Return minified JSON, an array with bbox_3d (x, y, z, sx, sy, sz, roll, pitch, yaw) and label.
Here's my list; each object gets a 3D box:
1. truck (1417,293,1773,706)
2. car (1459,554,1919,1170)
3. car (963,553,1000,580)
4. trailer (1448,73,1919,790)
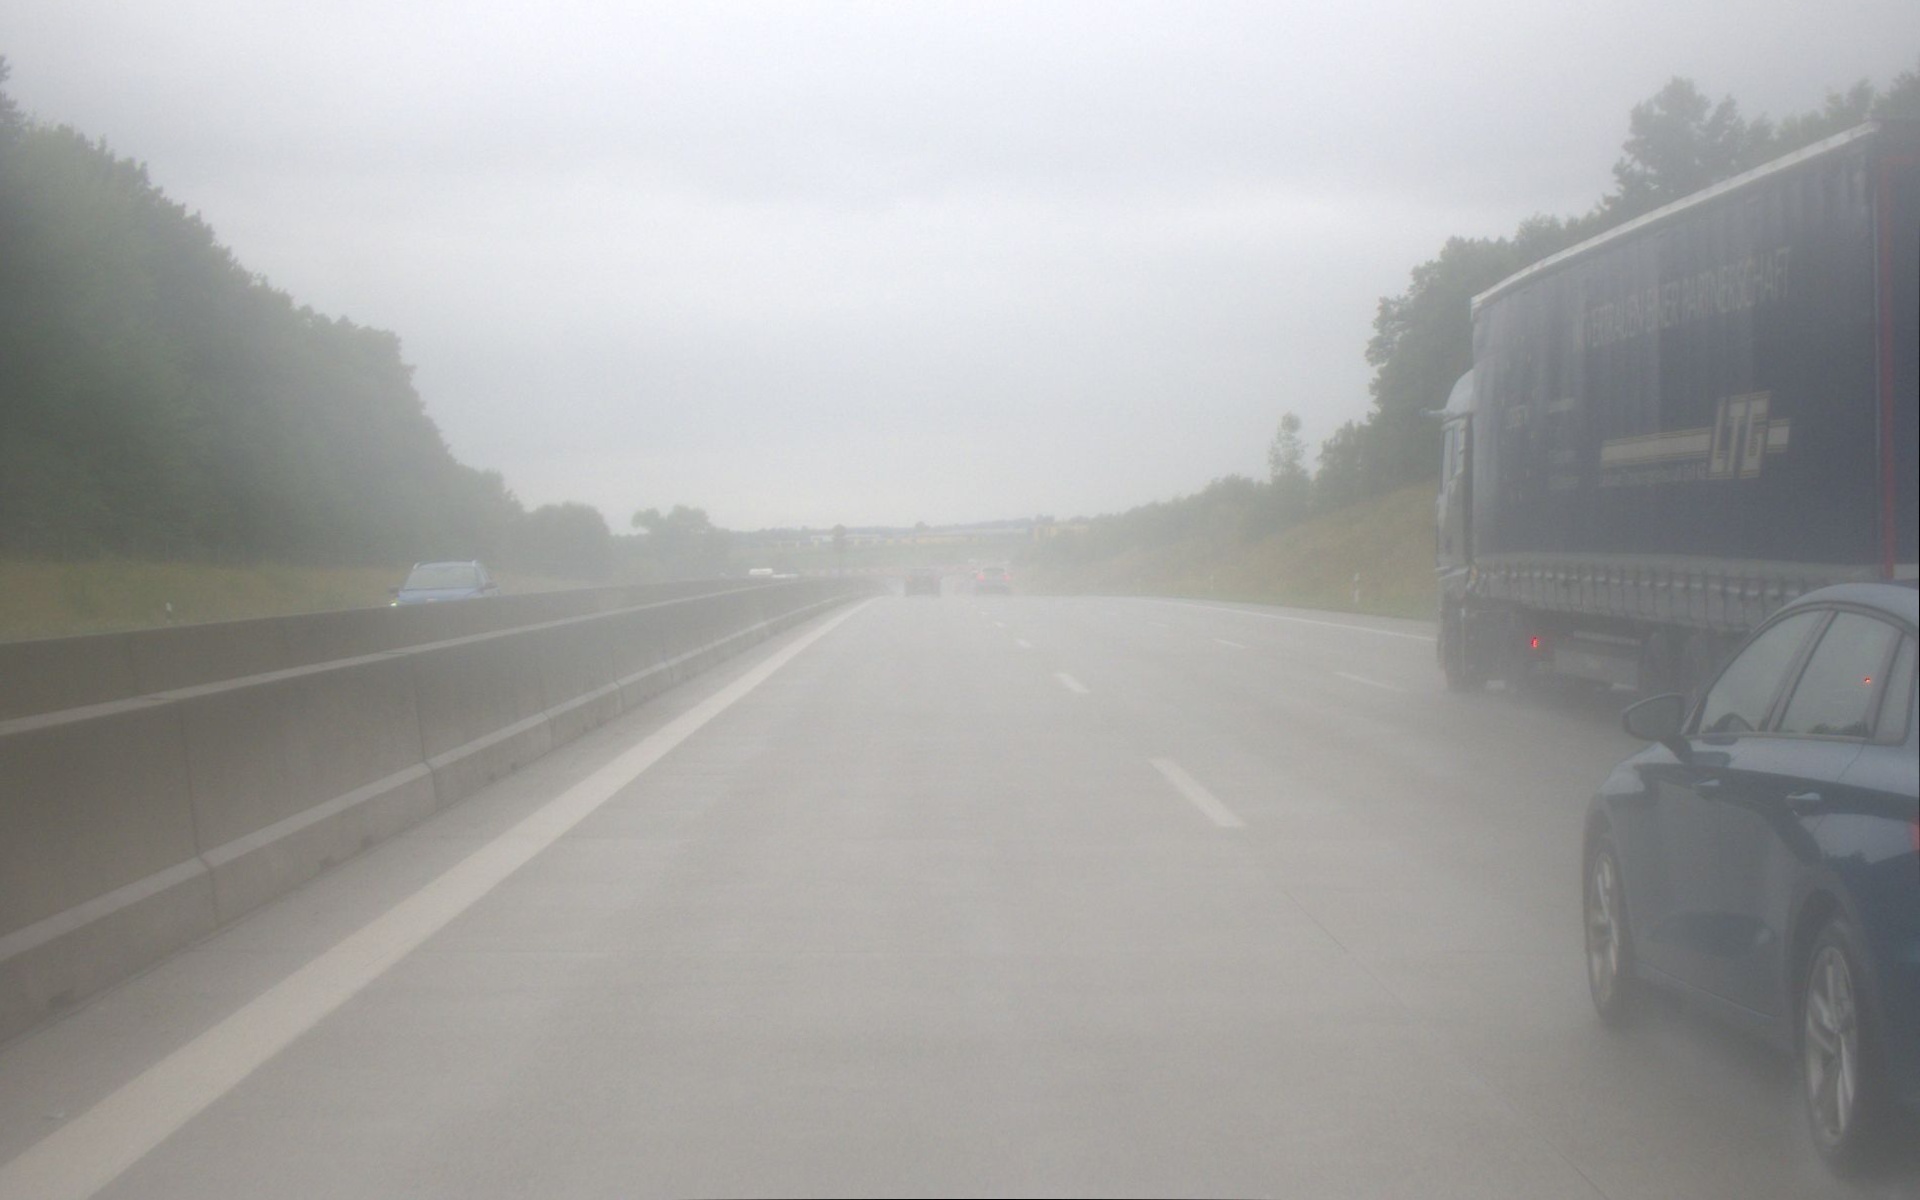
[{"bbox_3d":[6.472,-1.004,35.837,2.636,3.940,5.686,0,1,0],"label":"truck"},{"bbox_3d":[2.768,0.610,10.500,1.729,1.454,4.672,-1,0,-1],"label":"car"},{"bbox_3d":[1.129,-1.761,181.027,1.847,1.326,4.430,0,1,0],"label":"car"},{"bbox_3d":[6.517,-1.111,28.594,2.706,4.364,15.205,1,1,0],"label":"trailer"}]
